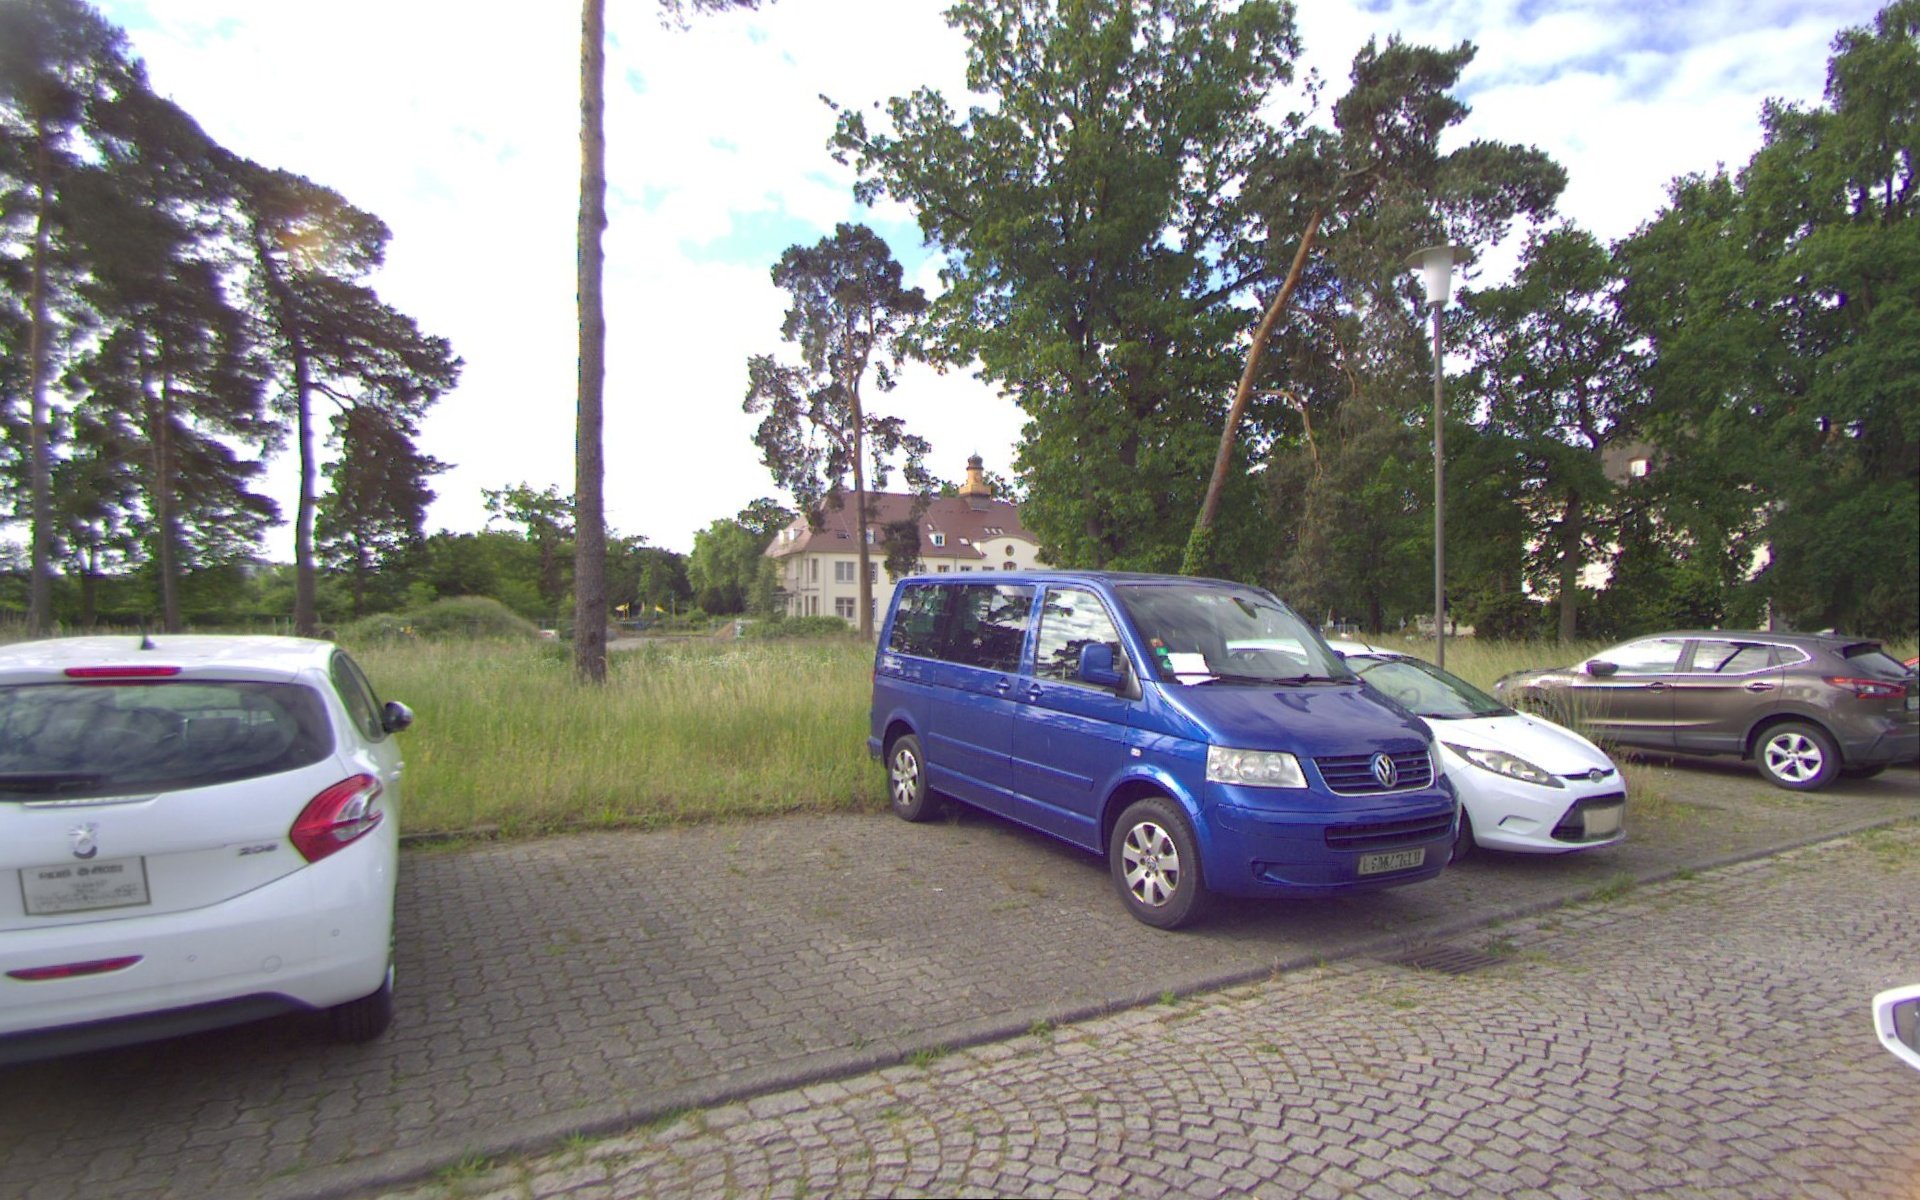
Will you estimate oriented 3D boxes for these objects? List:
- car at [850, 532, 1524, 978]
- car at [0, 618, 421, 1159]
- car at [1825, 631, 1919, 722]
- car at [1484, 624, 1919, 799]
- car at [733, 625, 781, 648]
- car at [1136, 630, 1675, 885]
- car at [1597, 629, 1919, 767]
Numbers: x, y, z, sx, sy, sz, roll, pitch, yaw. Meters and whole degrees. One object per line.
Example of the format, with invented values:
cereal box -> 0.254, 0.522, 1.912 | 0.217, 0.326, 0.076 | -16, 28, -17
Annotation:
car -> 1.094, 0.738, 7.074 | 2.014, 2.007, 4.687 | 1, -1, -30
car -> -3.573, 0.860, 4.688 | 1.820, 1.521, 3.989 | 1, -1, -28
car -> 17.300, 1.317, 16.920 | 1.767, 1.509, 3.797 | 1, -1, -30
car -> 8.572, 1.103, 11.652 | 1.932, 1.596, 4.048 | 1, -1, -31
car -> -20.072, 3.606, 99.115 | 2.350, 2.143, 5.761 | 3, -3, -38
car -> 3.350, 1.027, 8.244 | 1.707, 1.513, 3.773 | 1, -1, -32
car -> 10.839, 1.167, 13.238 | 1.740, 1.506, 3.798 | 1, -1, -30
